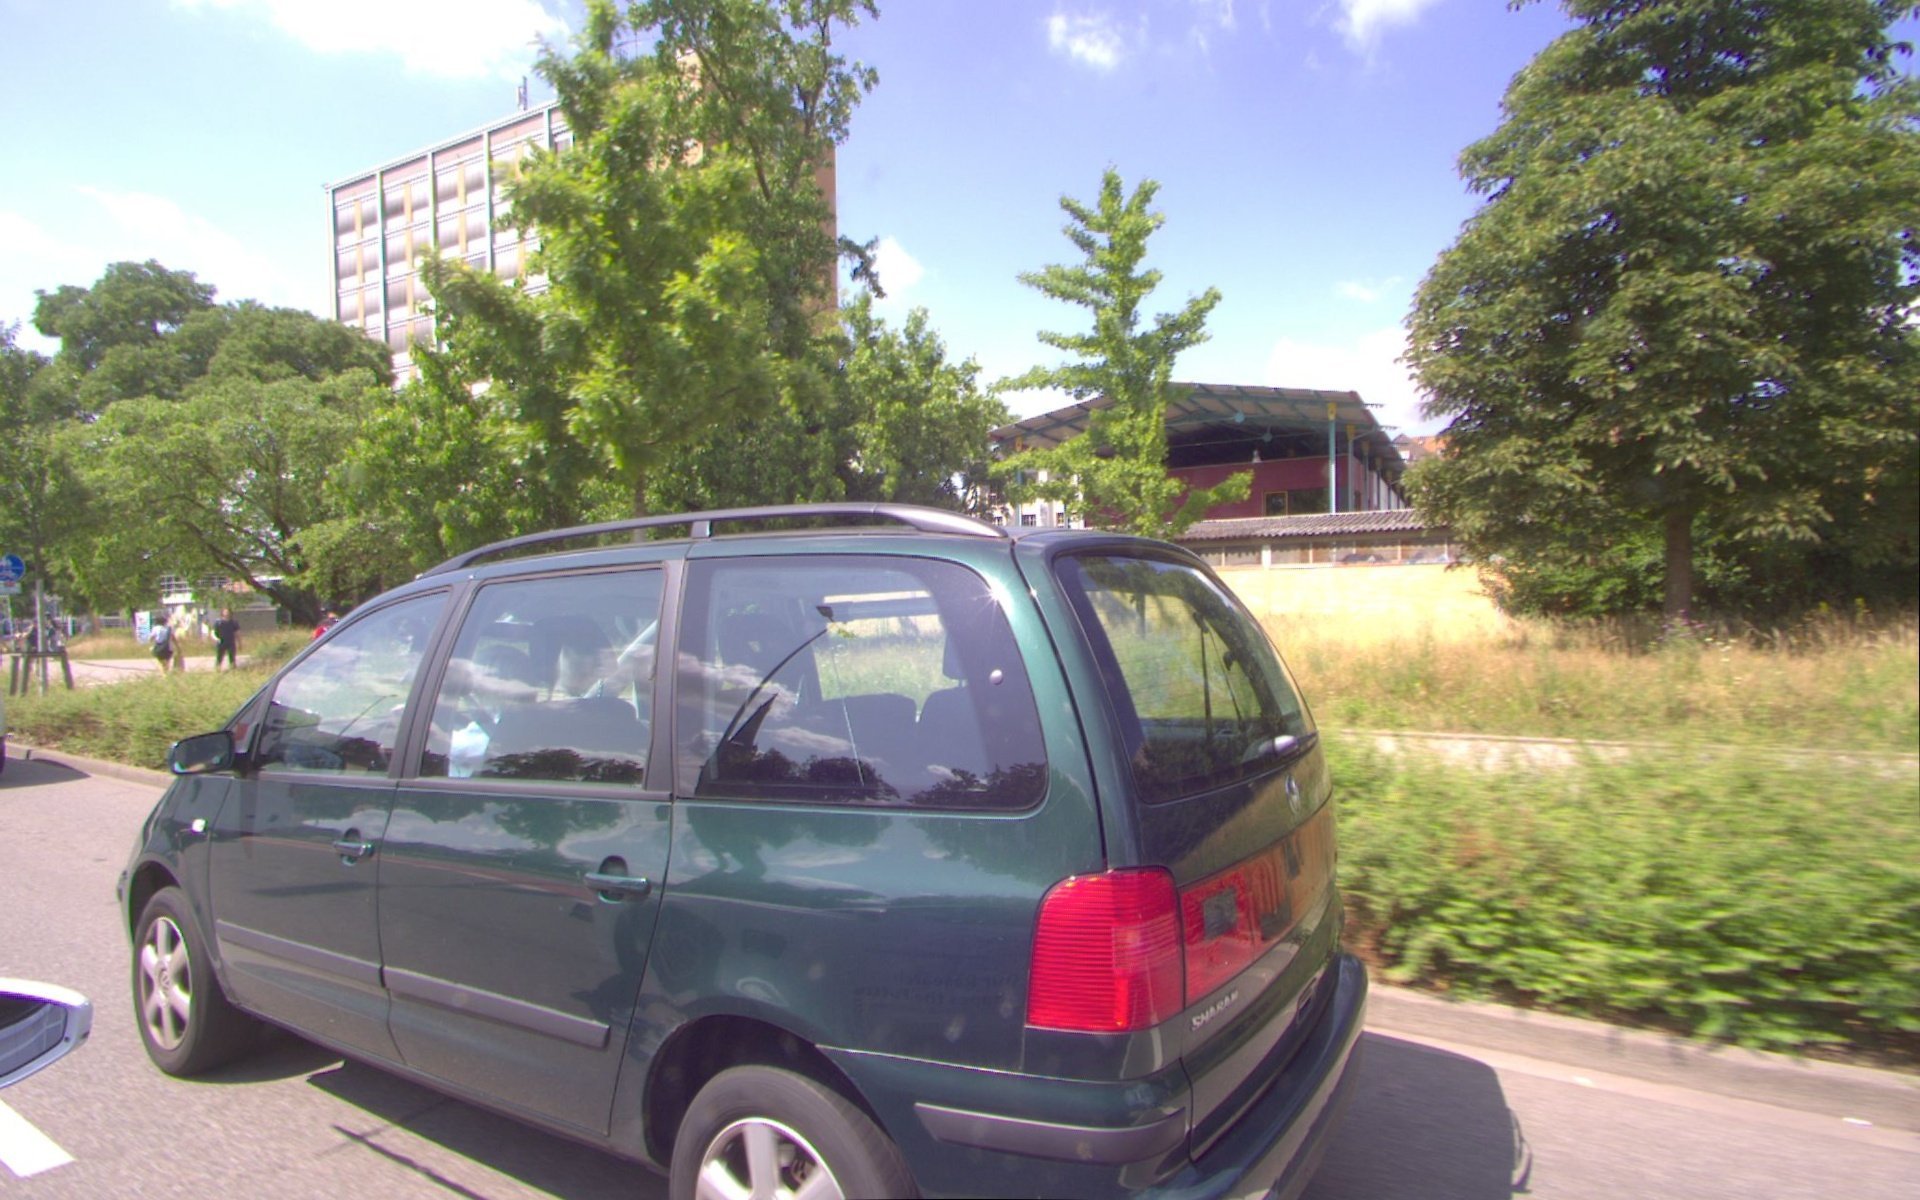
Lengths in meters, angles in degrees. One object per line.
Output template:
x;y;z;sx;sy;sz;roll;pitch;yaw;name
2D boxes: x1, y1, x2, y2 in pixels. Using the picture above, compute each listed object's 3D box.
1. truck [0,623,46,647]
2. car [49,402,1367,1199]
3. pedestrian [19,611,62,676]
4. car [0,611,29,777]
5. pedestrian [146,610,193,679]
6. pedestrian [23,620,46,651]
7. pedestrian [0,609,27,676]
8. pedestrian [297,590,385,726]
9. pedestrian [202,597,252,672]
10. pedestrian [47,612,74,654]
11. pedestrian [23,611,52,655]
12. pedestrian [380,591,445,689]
-118.382;4.358;124.774;2.842;2.889;8.780;-1;0;-14;truck
-1.124;0.655;3.364;4.385;1.745;1.791;-1;-2;33;car
-26.019;1.219;28.331;0.600;1.770;0.666;-1;2;27;pedestrian
-11.770;0.974;10.648;4.175;1.663;1.876;-1;0;35;car
-19.013;1.058;24.081;0.638;1.618;0.664;0;2;32;pedestrian
-57.874;2.206;62.608;0.770;1.846;0.753;-1;3;35;pedestrian
-26.331;1.155;27.485;0.868;1.802;0.749;-1;2;27;pedestrian
-8.455;0.770;13.685;0.836;1.773;0.664;0;2;32;pedestrian
-17.665;0.822;24.137;0.658;1.773;0.747;0;2;34;pedestrian
-38.742;1.411;43.127;0.602;1.776;0.746;0;2;39;pedestrian
-39.005;1.395;42.334;0.602;1.827;0.746;0;2;39;pedestrian
-10.181;0.729;18.616;0.865;1.773;0.664;0;2;32;pedestrian
